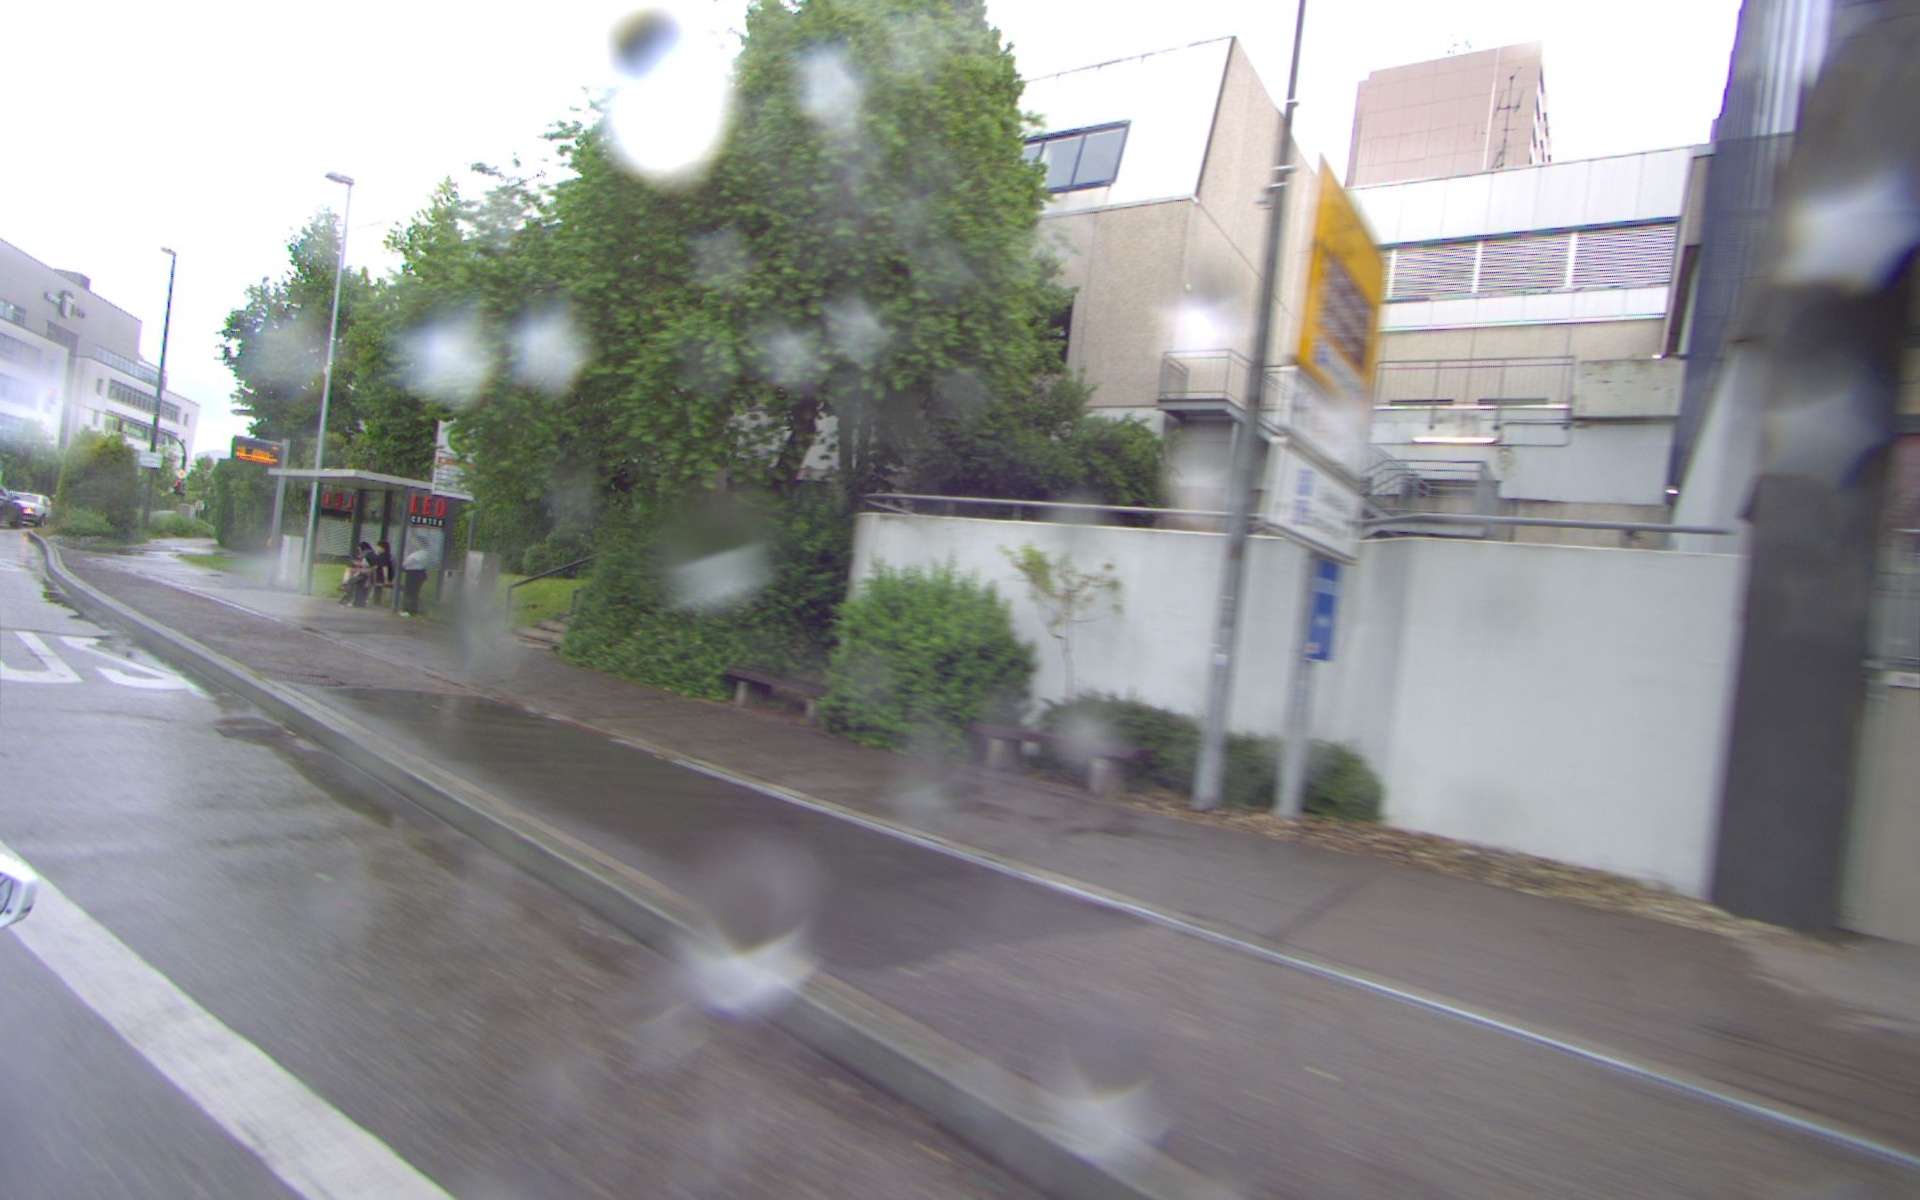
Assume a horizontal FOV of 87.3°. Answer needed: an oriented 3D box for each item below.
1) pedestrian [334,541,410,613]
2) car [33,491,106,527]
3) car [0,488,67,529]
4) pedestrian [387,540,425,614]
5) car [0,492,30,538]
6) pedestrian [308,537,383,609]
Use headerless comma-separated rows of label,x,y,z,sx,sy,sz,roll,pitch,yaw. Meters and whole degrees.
pedestrian,-11.578,-0.441,19.817,0.681,1.298,1.029,8,3,36
car,-43.130,-4.401,48.808,1.897,1.418,3.429,7,1,-30
car,-40.124,-3.903,43.237,1.622,1.466,4.235,8,0,-30
pedestrian,-10.679,-0.448,19.400,0.404,1.384,0.541,6,3,-11
car,-36.605,-3.294,37.497,1.889,1.640,4.298,8,-1,-32
pedestrian,-12.268,-0.532,20.104,0.681,1.298,1.029,8,3,36
